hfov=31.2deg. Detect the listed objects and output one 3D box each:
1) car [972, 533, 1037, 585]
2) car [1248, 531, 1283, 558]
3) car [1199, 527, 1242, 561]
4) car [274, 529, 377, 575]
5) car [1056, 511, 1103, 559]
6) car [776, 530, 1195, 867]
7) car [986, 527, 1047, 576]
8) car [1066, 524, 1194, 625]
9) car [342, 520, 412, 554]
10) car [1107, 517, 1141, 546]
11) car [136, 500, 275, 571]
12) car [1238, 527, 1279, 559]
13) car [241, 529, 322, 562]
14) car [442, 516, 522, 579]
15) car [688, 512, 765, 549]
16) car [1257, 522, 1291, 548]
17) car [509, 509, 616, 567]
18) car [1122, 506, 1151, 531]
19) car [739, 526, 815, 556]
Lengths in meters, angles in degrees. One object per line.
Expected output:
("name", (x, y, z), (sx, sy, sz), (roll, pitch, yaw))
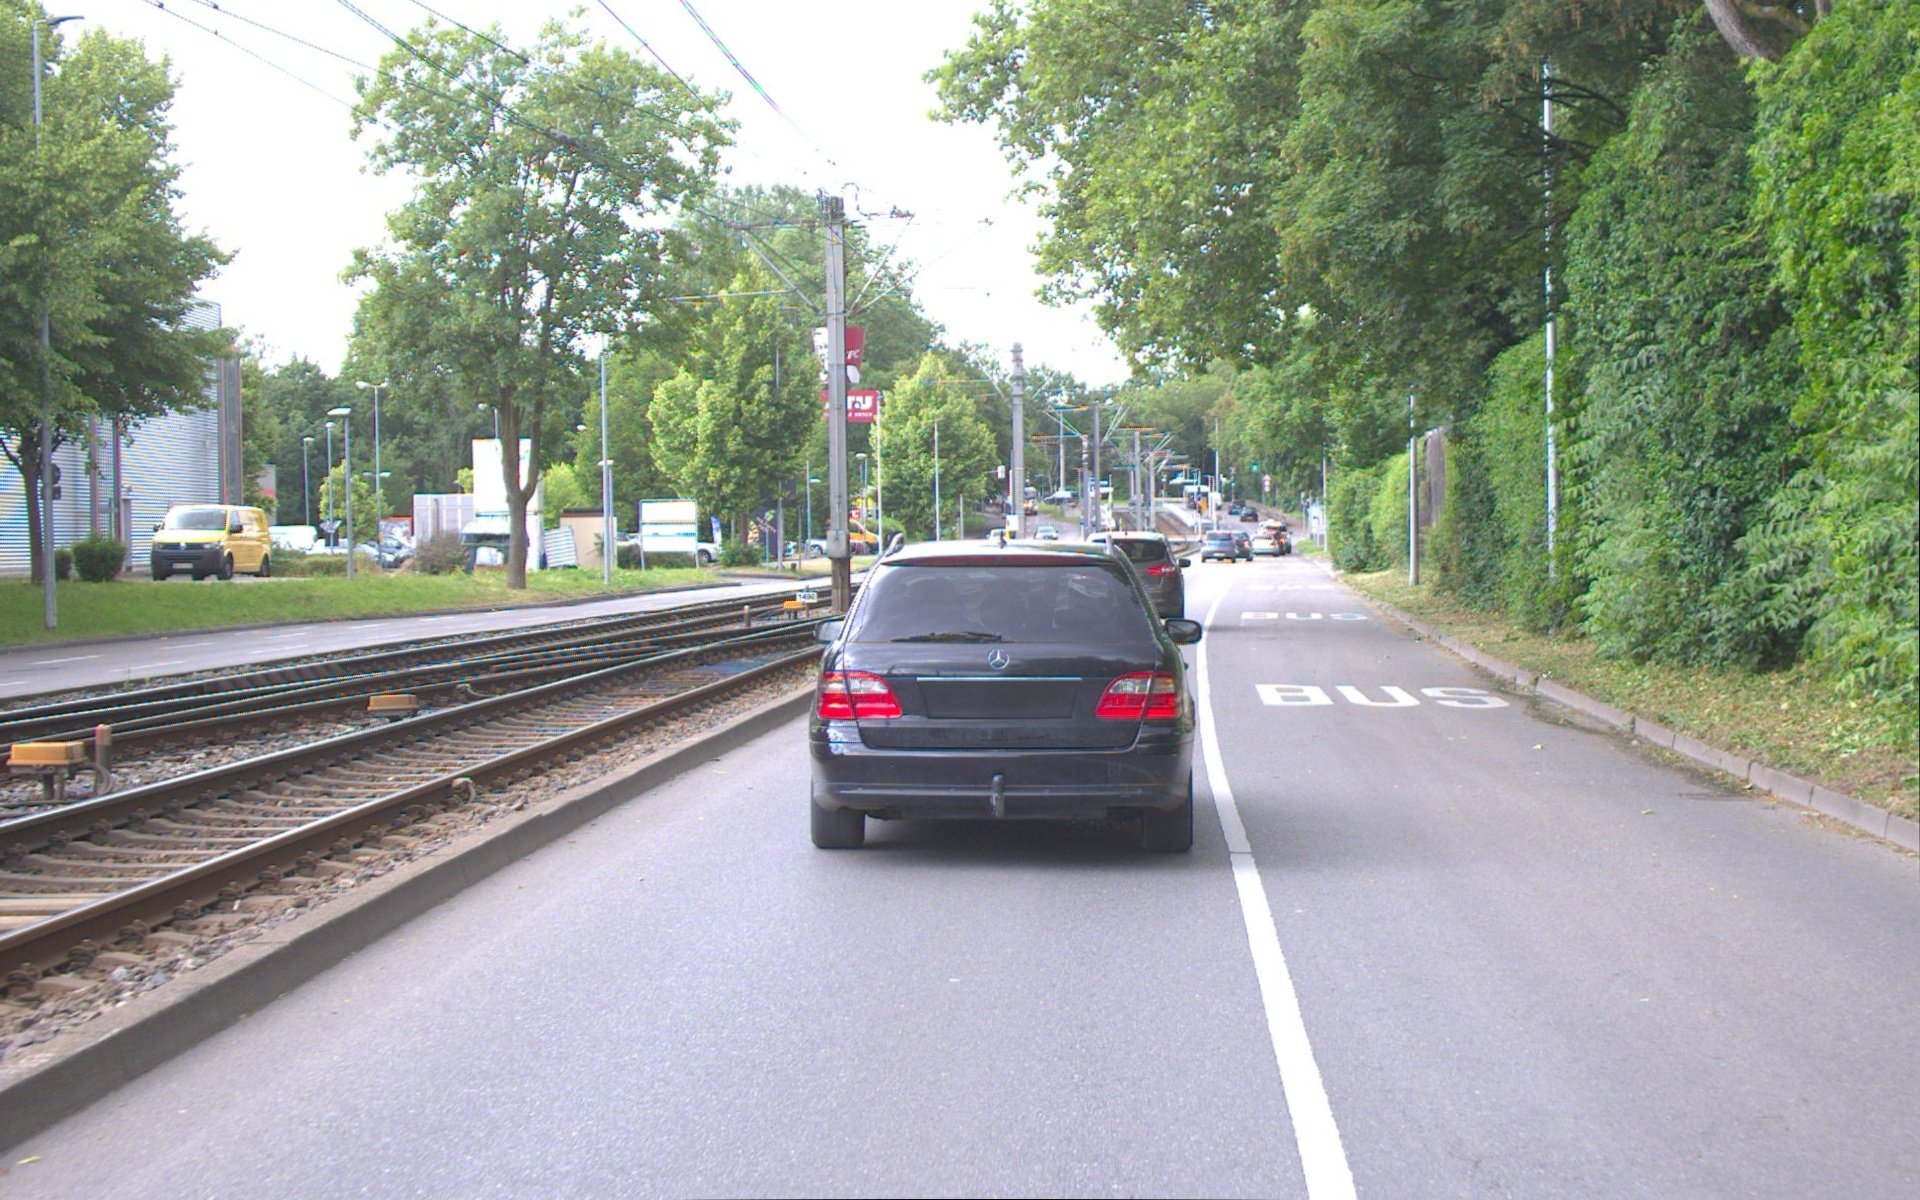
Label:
("car", (1.365, -1.261, 104.250), (1.825, 1.524, 3.986), (0, 1, 3))
("car", (17.330, -3.158, 194.991), (1.825, 1.524, 4.179), (0, 1, 3))
("car", (11.996, -2.595, 158.611), (1.825, 1.524, 4.415), (0, 1, 3))
("car", (-25.909, -1.966, 140.366), (3.986, 1.674, 2.001), (-3, 1, -13))
("car", (5.177, -2.804, 148.961), (1.891, 2.007, 3.898), (-2, 1, 1))
("car", (0.175, 0.397, 17.229), (1.833, 1.473, 4.416), (0, 1, 2))
("car", (1.811, -1.554, 109.399), (1.825, 1.524, 3.986), (0, 1, 3))
("car", (2.637, -0.426, 54.090), (1.825, 1.524, 4.416), (0, 1, 1))
("car", (-37.380, -4.012, 220.348), (3.988, 2.007, 2.000), (-2, 1, 5))
("car", (8.920, -3.724, 186.712), (1.825, 1.524, 4.179), (0, 1, 3))
("car", (-18.835, -1.616, 86.051), (1.994, 1.737, 4.987), (0, 1, 5))
("car", (14.543, -2.799, 167.684), (1.825, 1.524, 4.179), (0, 1, 3))
("car", (-37.480, -2.998, 189.992), (3.987, 1.674, 2.000), (-2, 1, -1))
("car", (-16.011, -1.758, 115.229), (1.993, 2.007, 4.000), (-2, 1, 1))
("car", (-11.405, -3.384, 167.721), (3.692, 1.809, 1.795), (0, 1, -6))
("car", (18.486, -3.830, 202.553), (1.825, 1.524, 4.179), (0, 1, 3))
("car", (-15.689, -2.443, 135.859), (3.986, 2.116, 2.000), (-2, 1, -3))
("car", (11.918, -5.506, 232.307), (1.841, 1.639, 3.886), (0, 1, 2))
("car", (-10.169, -3.286, 190.950), (3.987, 1.639, 2.000), (0, 1, 4))
